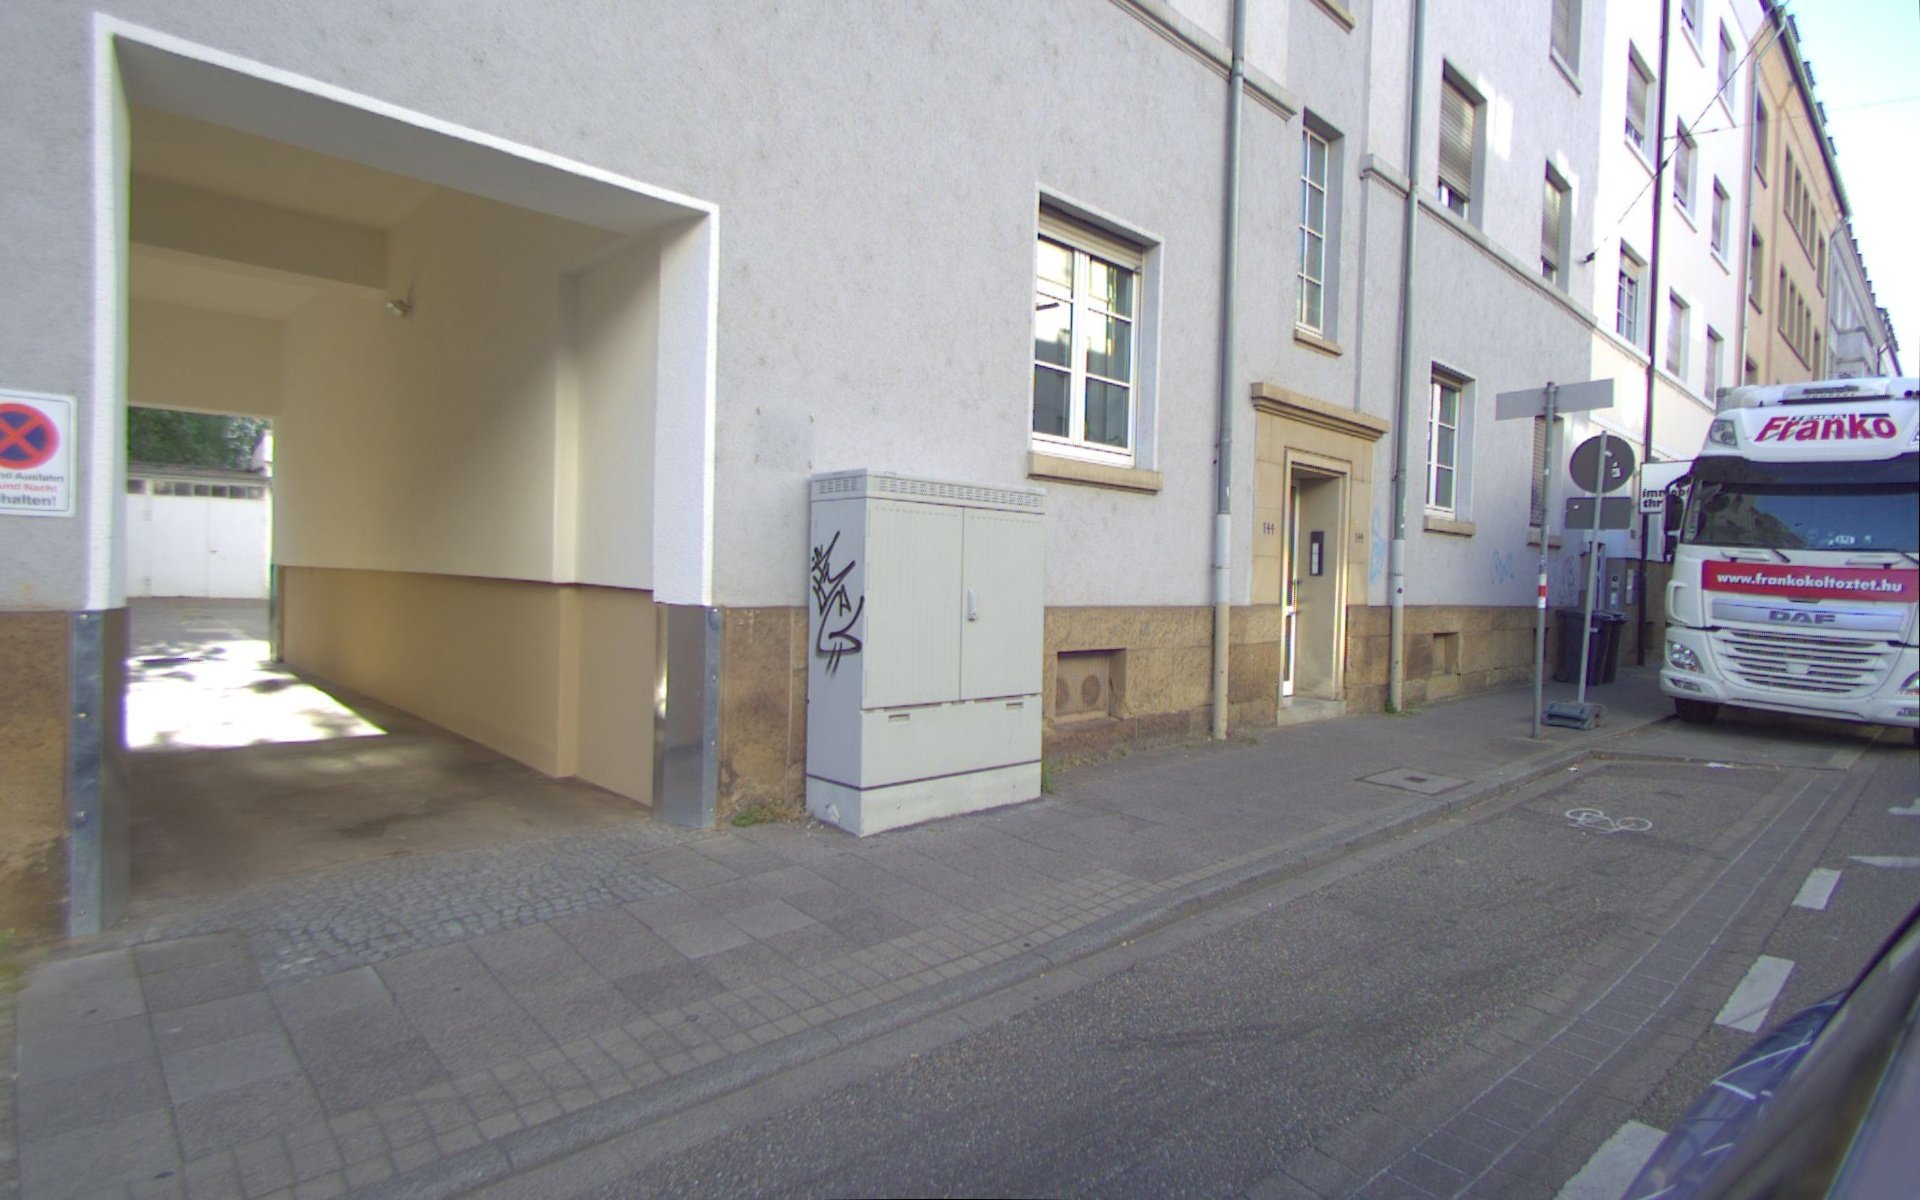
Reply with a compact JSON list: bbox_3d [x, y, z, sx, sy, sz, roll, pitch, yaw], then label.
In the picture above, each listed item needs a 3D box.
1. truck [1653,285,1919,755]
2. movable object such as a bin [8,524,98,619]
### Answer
[{"bbox_3d":[12.561,-0.856,13.694,11.579,4.290,2.697,-1,3,-43],"label":"truck"},{"bbox_3d":[-15.144,-0.463,16.928,1.091,1.512,1.328,0,0,-41],"label":"movable object such as a bin"}]
